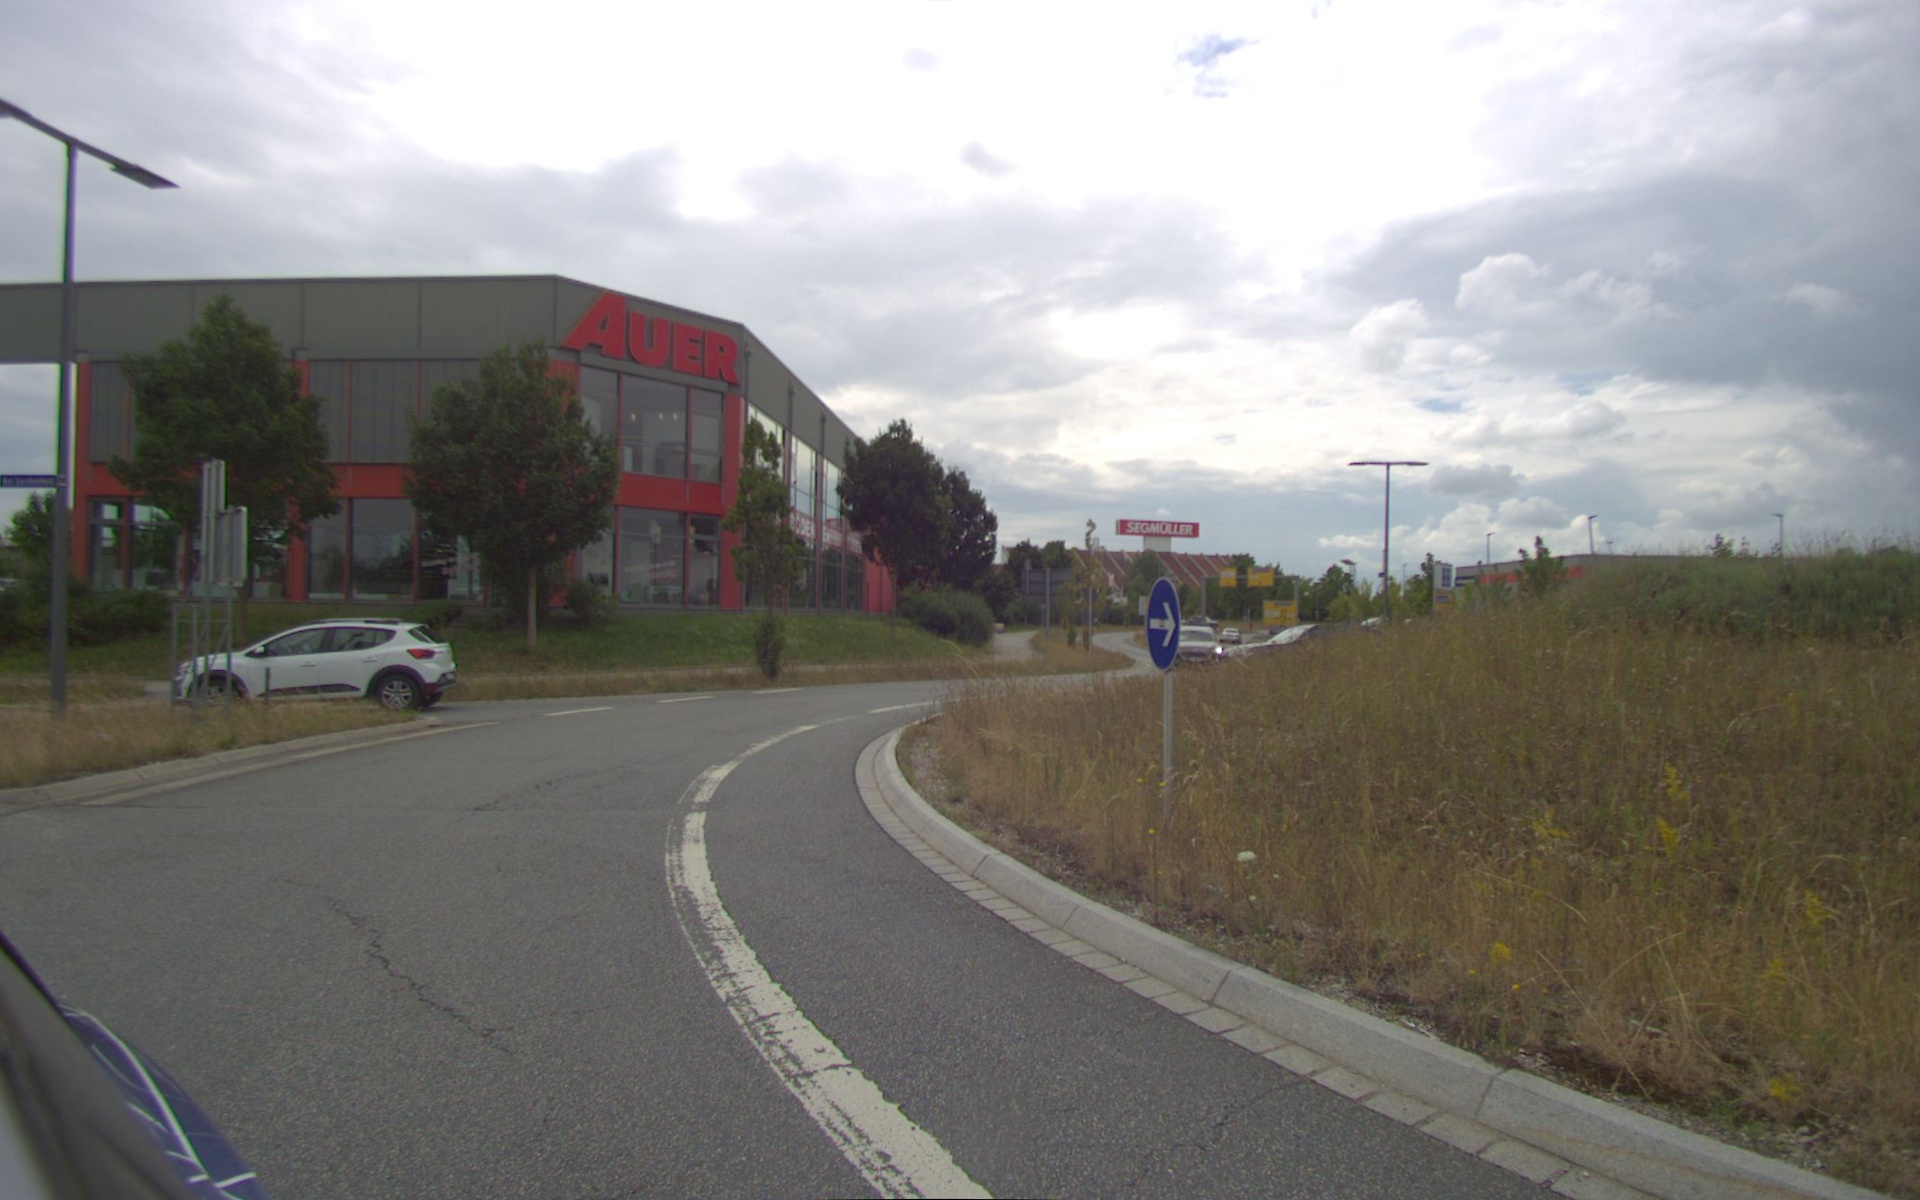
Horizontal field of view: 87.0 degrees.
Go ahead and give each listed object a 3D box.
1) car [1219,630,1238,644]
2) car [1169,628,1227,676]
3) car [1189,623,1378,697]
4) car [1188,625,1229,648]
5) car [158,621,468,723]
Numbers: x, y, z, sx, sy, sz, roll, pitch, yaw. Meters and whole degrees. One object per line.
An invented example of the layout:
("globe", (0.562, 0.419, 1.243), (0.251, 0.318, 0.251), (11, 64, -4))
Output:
("car", (26.041, 3.546, 98.160), (1.484, 1.311, 3.732), (1, -1, 12))
("car", (7.628, 1.633, 32.638), (1.659, 1.260, 3.582), (2, 1, 12))
("car", (8.117, 1.464, 25.397), (4.222, 1.620, 2.007), (2, 1, -26))
("car", (18.431, 2.656, 75.233), (1.989, 1.564, 4.000), (1, -1, 0))
("car", (-10.658, 1.155, 17.002), (4.016, 1.570, 1.738), (1, -1, -15))
